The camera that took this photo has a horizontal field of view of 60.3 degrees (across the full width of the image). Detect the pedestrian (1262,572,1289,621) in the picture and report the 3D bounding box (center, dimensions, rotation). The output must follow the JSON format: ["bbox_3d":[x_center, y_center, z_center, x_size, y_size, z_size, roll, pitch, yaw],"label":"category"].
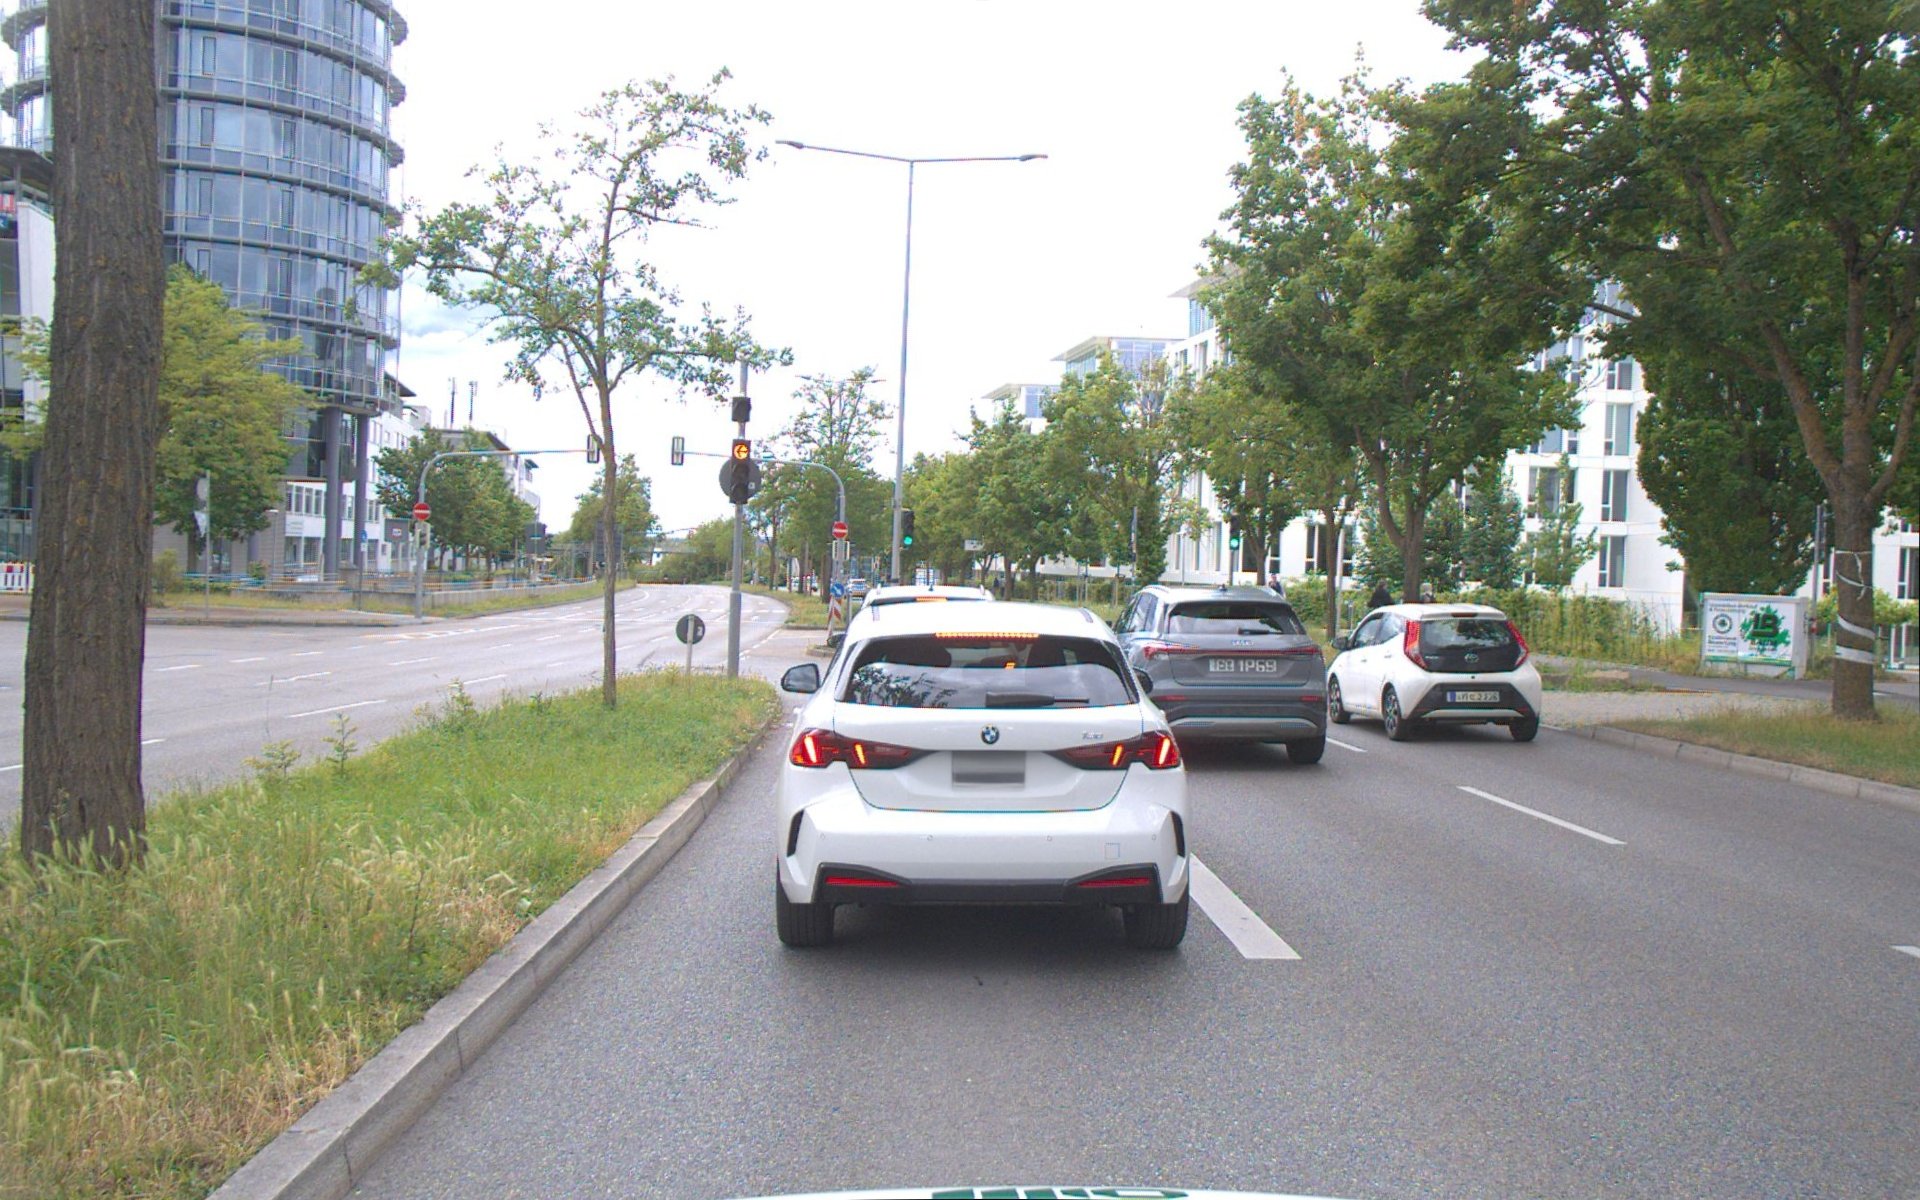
[{"bbox_3d":[10.591,-0.118,55.509,0.726,1.601,0.674,1,-1,-2],"label":"pedestrian"}]

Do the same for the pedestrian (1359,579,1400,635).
[{"bbox_3d":[11.205,0.189,44.243,0.773,1.473,1.111,1,0,-2],"label":"pedestrian"}]

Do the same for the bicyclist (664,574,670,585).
[{"bbox_3d":[-45.001,-3.094,254.272,0.795,1.681,1.187,1,0,-7],"label":"bicyclist"}]

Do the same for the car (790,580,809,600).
[{"bbox_3d":[-15.217,-0.934,156.427,1.663,1.747,3.994,1,0,-7],"label":"car"}]

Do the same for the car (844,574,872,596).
[{"bbox_3d":[-8.136,-1.160,131.467,1.956,1.699,3.993,0,0,-8],"label":"car"}]

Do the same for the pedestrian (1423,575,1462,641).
[{"bbox_3d":[12.797,0.215,43.890,0.751,1.715,0.883,1,-1,-2],"label":"pedestrian"}]

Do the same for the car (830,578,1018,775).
[{"bbox_3d":[-0.325,0.627,15.717,1.518,1.596,3.999,1,0,-1],"label":"car"}]

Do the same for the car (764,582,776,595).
[{"bbox_3d":[-26.678,-1.630,232.260,1.570,1.695,3.997,1,0,-4],"label":"car"}]

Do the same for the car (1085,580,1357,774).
[{"bbox_3d":[2.408,0.649,16.349,1.853,1.623,4.312,1,0,-2],"label":"car"}]

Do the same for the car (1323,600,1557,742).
[{"bbox_3d":[5.398,0.742,19.015,1.620,1.450,3.534,0,0,-1],"label":"car"}]

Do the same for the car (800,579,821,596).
[{"bbox_3d":[-16.611,-1.367,184.029,1.957,1.763,3.991,1,0,-10],"label":"car"}]

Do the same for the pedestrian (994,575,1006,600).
[{"bbox_3d":[3.260,-0.998,134.189,0.749,2.049,0.751,1,-1,-16],"label":"pedestrian"}]

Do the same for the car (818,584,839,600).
[{"bbox_3d":[-12.700,-0.768,159.783,1.661,1.512,3.686,1,0,-9],"label":"car"}]

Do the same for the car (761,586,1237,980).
[{"bbox_3d":[0.125,0.693,8.324,1.785,1.463,3.999,1,0,-1],"label":"car"}]

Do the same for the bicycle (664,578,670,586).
[{"bbox_3d":[-44.996,-2.733,254.205,0.795,1.123,2.553,1,0,-6],"label":"bicycle"}]

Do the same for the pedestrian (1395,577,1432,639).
[{"bbox_3d":[12.030,0.202,43.886,0.685,1.623,0.883,1,0,-2],"label":"pedestrian"}]
